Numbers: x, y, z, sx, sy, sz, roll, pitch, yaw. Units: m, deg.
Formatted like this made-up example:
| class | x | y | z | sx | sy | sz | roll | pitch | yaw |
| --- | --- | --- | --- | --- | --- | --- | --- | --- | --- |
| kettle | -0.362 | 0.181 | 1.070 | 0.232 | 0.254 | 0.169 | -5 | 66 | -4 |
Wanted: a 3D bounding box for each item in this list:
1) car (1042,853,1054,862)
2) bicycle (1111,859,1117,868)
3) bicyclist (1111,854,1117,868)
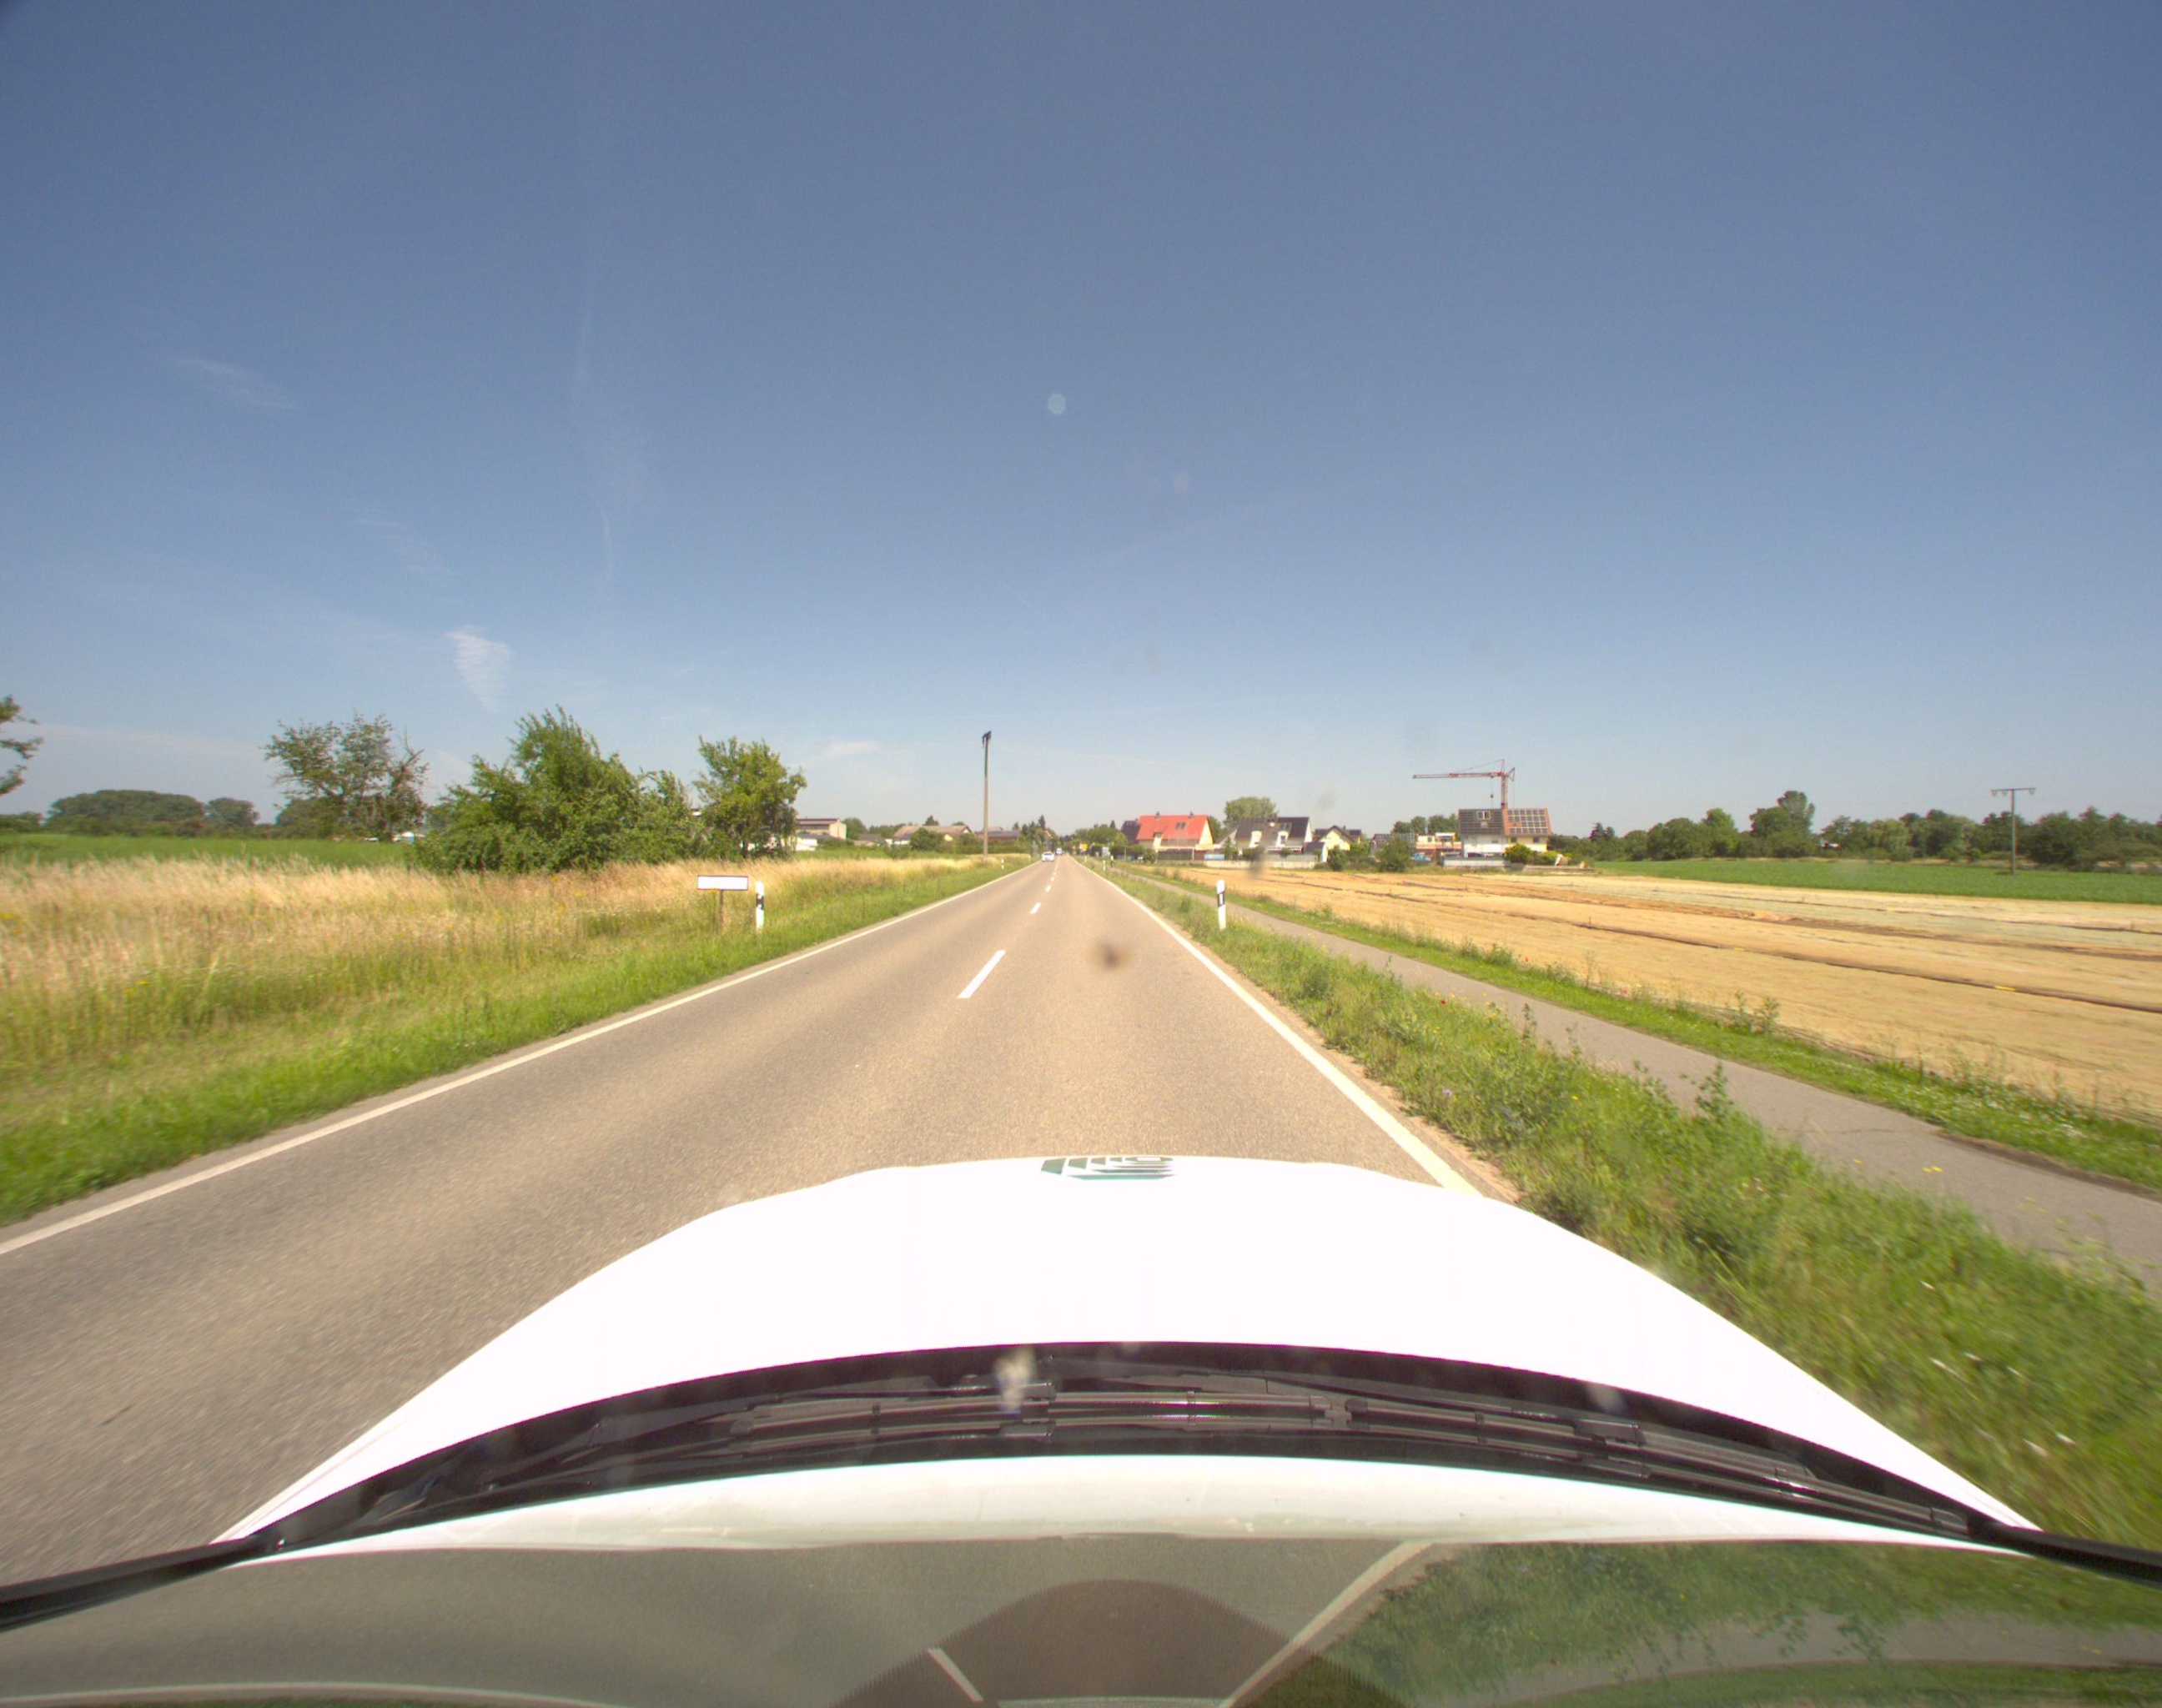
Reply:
| class | x | y | z | sx | sy | sz | roll | pitch | yaw |
| --- | --- | --- | --- | --- | --- | --- | --- | --- | --- |
| car | -5.303 | 0.542 | 130.431 | 1.787 | 1.409 | 4.183 | -1 | 0 | -2 |
| bicycle | 4.436 | 1.272 | 110.499 | 0.609 | 1.158 | 2.272 | 2 | 1 | -2 |
| bicyclist | 4.447 | 0.907 | 110.343 | 0.643 | 1.889 | 0.860 | 2 | 1 | -2 |
